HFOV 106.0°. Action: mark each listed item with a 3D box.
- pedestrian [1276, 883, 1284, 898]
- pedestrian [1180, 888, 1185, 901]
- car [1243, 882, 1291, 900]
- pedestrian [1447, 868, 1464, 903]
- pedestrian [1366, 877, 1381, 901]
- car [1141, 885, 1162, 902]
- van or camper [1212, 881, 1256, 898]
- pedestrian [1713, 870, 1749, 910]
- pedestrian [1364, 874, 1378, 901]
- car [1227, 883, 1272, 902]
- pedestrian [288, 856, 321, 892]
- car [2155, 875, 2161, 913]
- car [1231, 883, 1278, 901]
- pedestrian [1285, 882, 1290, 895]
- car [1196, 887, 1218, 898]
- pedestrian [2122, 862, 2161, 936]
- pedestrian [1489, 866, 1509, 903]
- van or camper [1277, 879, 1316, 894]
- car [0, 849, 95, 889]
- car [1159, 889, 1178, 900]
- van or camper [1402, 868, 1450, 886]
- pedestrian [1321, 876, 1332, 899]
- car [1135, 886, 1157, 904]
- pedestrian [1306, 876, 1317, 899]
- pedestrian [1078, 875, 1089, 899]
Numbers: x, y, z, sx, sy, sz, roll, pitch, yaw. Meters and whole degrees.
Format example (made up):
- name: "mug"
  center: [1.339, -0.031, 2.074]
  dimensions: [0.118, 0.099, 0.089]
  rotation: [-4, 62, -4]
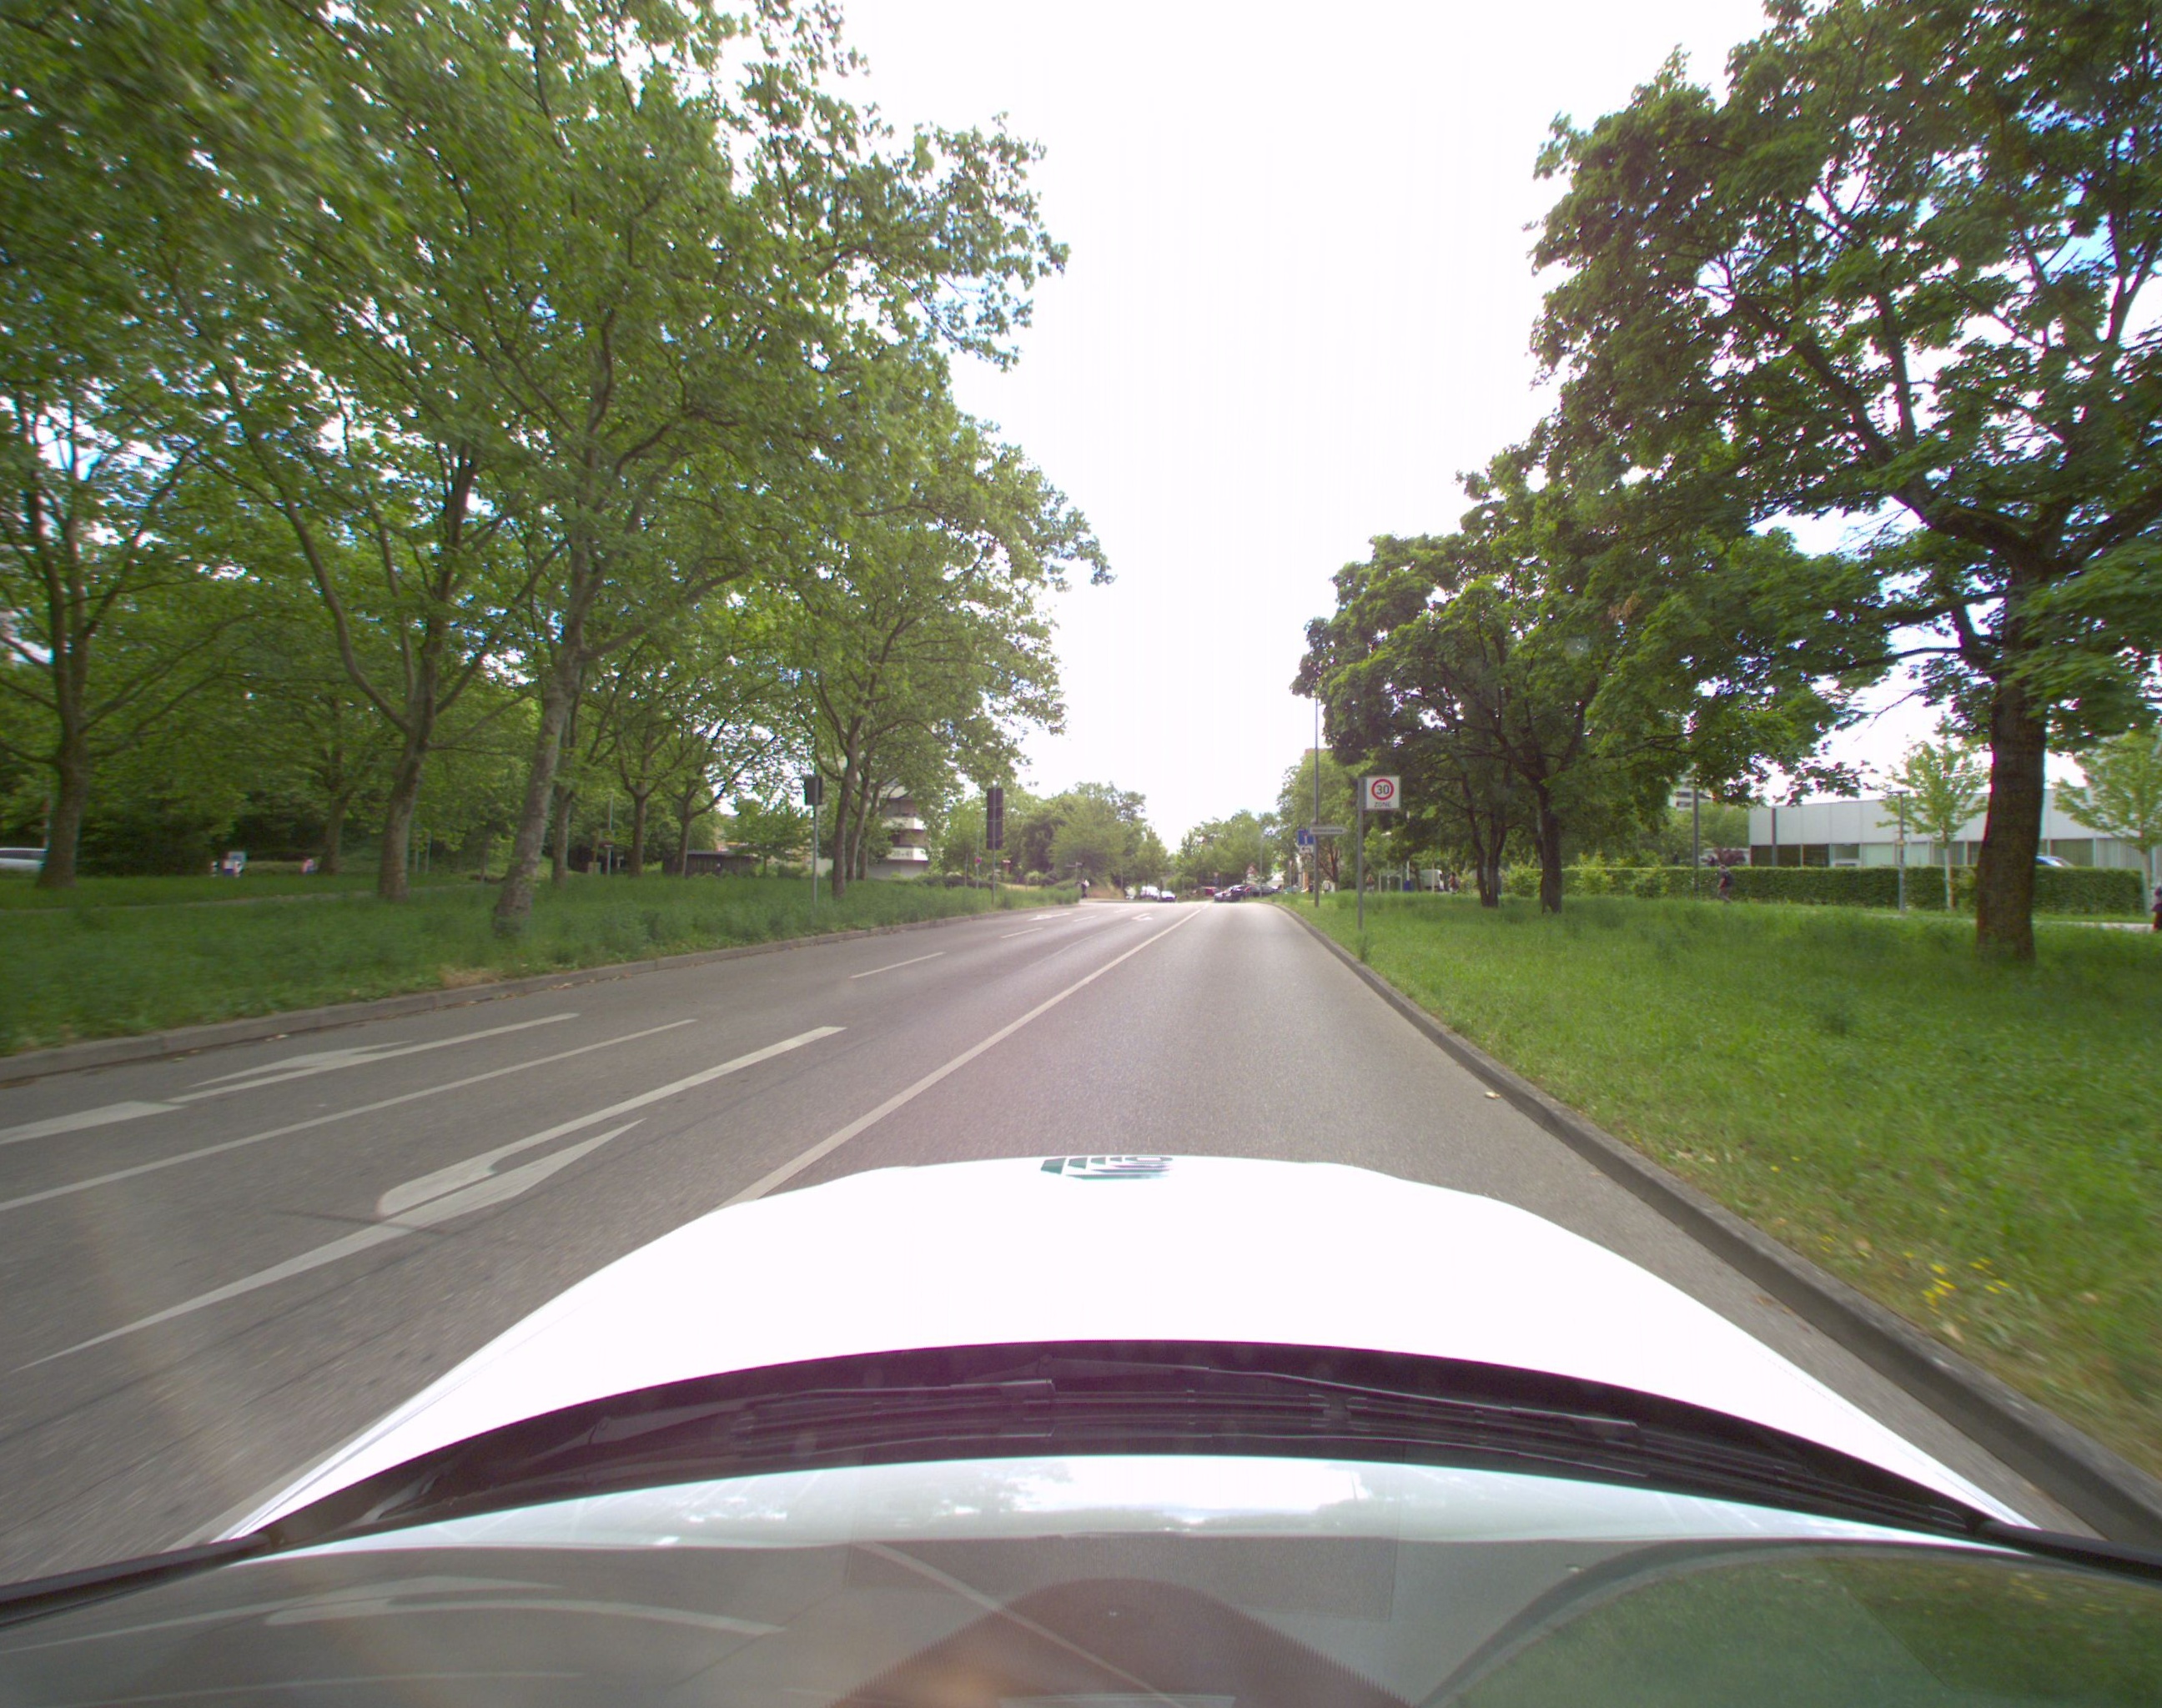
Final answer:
- name: "pedestrian"
  center: [20.049, 3.679, 81.969]
  dimensions: [0.685, 1.425, 0.755]
  rotation: [1, -2, 11]
- name: "pedestrian"
  center: [15.885, 6.335, 127.193]
  dimensions: [0.718, 1.865, 0.650]
  rotation: [0, -1, 0]
- name: "car"
  center: [15.682, 3.135, 68.935]
  dimensions: [3.896, 1.469, 1.776]
  rotation: [0, -5, 11]
- name: "pedestrian"
  center: [19.132, 1.587, 41.603]
  dimensions: [0.767, 1.723, 0.828]
  rotation: [0, -1, 28]
- name: "pedestrian"
  center: [21.751, 2.580, 60.483]
  dimensions: [0.767, 1.694, 0.828]
  rotation: [0, -1, 43]
- name: "car"
  center: [6.778, 3.737, 77.495]
  dimensions: [1.756, 1.501, 3.943]
  rotation: [0, -2, 8]
- name: "van or camper"
  center: [17.007, 3.934, 90.740]
  dimensions: [4.652, 1.870, 1.773]
  rotation: [0, -1, 3]
- name: "pedestrian"
  center: [24.324, 1.354, 30.477]
  dimensions: [0.835, 1.452, 0.693]
  rotation: [1, 0, -19]
- name: "pedestrian"
  center: [17.525, 2.005, 49.238]
  dimensions: [0.768, 1.596, 0.827]
  rotation: [-1, -1, 18]
- name: "car"
  center: [15.325, 3.514, 74.058]
  dimensions: [3.896, 1.631, 1.776]
  rotation: [0, -5, 11]
- name: "pedestrian"
  center: [-43.280, 1.115, 45.406]
  dimensions: [0.988, 1.951, 1.075]
  rotation: [2, -3, -26]
- name: "car"
  center: [41.946, 1.526, 30.223]
  dimensions: [3.099, 1.422, 1.501]
  rotation: [1, -1, -16]
- name: "car"
  center: [15.175, 3.346, 71.307]
  dimensions: [3.896, 1.501, 1.776]
  rotation: [0, -5, 11]
- name: "pedestrian"
  center: [19.113, 3.216, 75.295]
  dimensions: [0.393, 1.152, 0.486]
  rotation: [0, -1, 13]
- name: "car"
  center: [21.191, 6.492, 137.161]
  dimensions: [3.525, 1.654, 1.622]
  rotation: [1, -2, 3]
- name: "pedestrian"
  center: [21.882, 0.898, 16.293]
  dimensions: [0.871, 1.452, 0.986]
  rotation: [1, 0, 10]
- name: "pedestrian"
  center: [19.764, 1.413, 38.503]
  dimensions: [0.767, 1.723, 0.828]
  rotation: [0, -1, 30]
- name: "van or camper"
  center: [31.547, 4.741, 119.523]
  dimensions: [5.265, 2.042, 2.064]
  rotation: [0, -1, 6]
- name: "car"
  center: [-40.800, 0.560, 31.068]
  dimensions: [3.735, 1.500, 1.727]
  rotation: [0, -1, -12]
- name: "car"
  center: [12.100, 5.586, 112.574]
  dimensions: [1.970, 1.464, 3.930]
  rotation: [0, -3, -3]
- name: "van or camper"
  center: [38.432, 2.582, 90.741]
  dimensions: [4.628, 1.914, 1.782]
  rotation: [-1, -1, 41]
- name: "pedestrian"
  center: [19.035, 2.611, 63.124]
  dimensions: [0.795, 1.723, 0.826]
  rotation: [0, -1, 14]
- name: "car"
  center: [5.808, 3.595, 72.507]
  dimensions: [1.756, 1.500, 3.943]
  rotation: [0, -2, 8]
- name: "pedestrian"
  center: [18.015, 2.628, 63.675]
  dimensions: [0.768, 1.723, 0.827]
  rotation: [0, -1, 19]
- name: "pedestrian"
  center: [0.192, 2.385, 59.412]
  dimensions: [0.818, 1.723, 0.776]
  rotation: [0, -1, -2]
